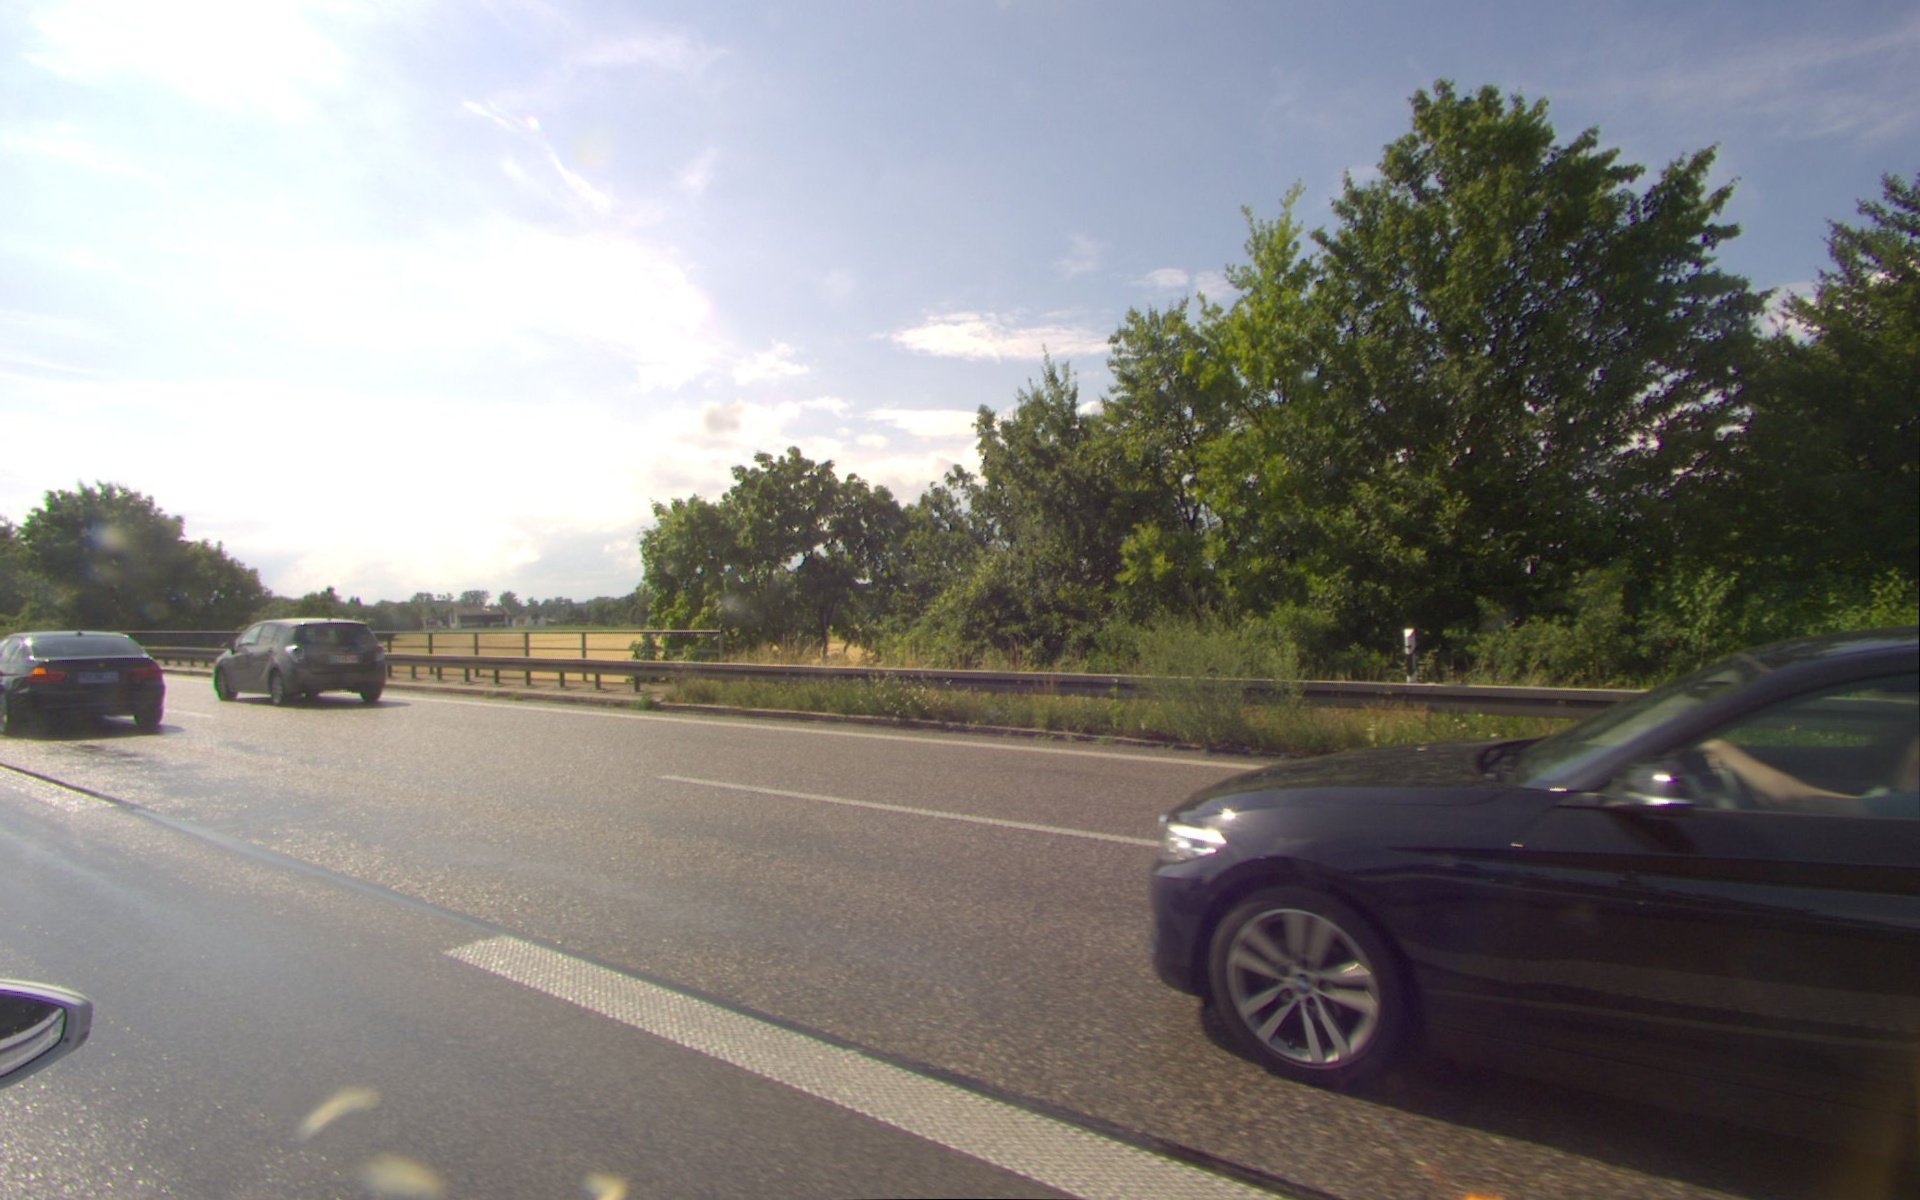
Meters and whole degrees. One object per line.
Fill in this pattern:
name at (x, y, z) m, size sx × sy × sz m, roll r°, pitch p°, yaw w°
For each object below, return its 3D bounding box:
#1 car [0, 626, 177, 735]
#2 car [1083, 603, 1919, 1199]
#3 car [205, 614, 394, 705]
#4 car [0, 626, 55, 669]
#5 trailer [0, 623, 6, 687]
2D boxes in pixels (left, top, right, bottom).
car at (-13.517, 1.113, 15.091) m, size 3.785 × 1.439 × 1.735 m, roll -1°, pitch -1°, yaw 36°
car at (2.668, 0.757, 3.039) m, size 4.201 × 1.483 × 1.842 m, roll -1°, pitch -1°, yaw 37°
car at (-13.227, 1.104, 19.983) m, size 4.328 × 1.634 × 1.782 m, roll -1°, pitch -1°, yaw 37°
car at (-33.326, 1.611, 34.988) m, size 4.234 × 1.420 × 1.765 m, roll -1°, pitch -1°, yaw 37°
trailer at (-24.038, 1.281, 23.378) m, size 4.093 × 1.460 × 1.849 m, roll -1°, pitch -1°, yaw 36°
